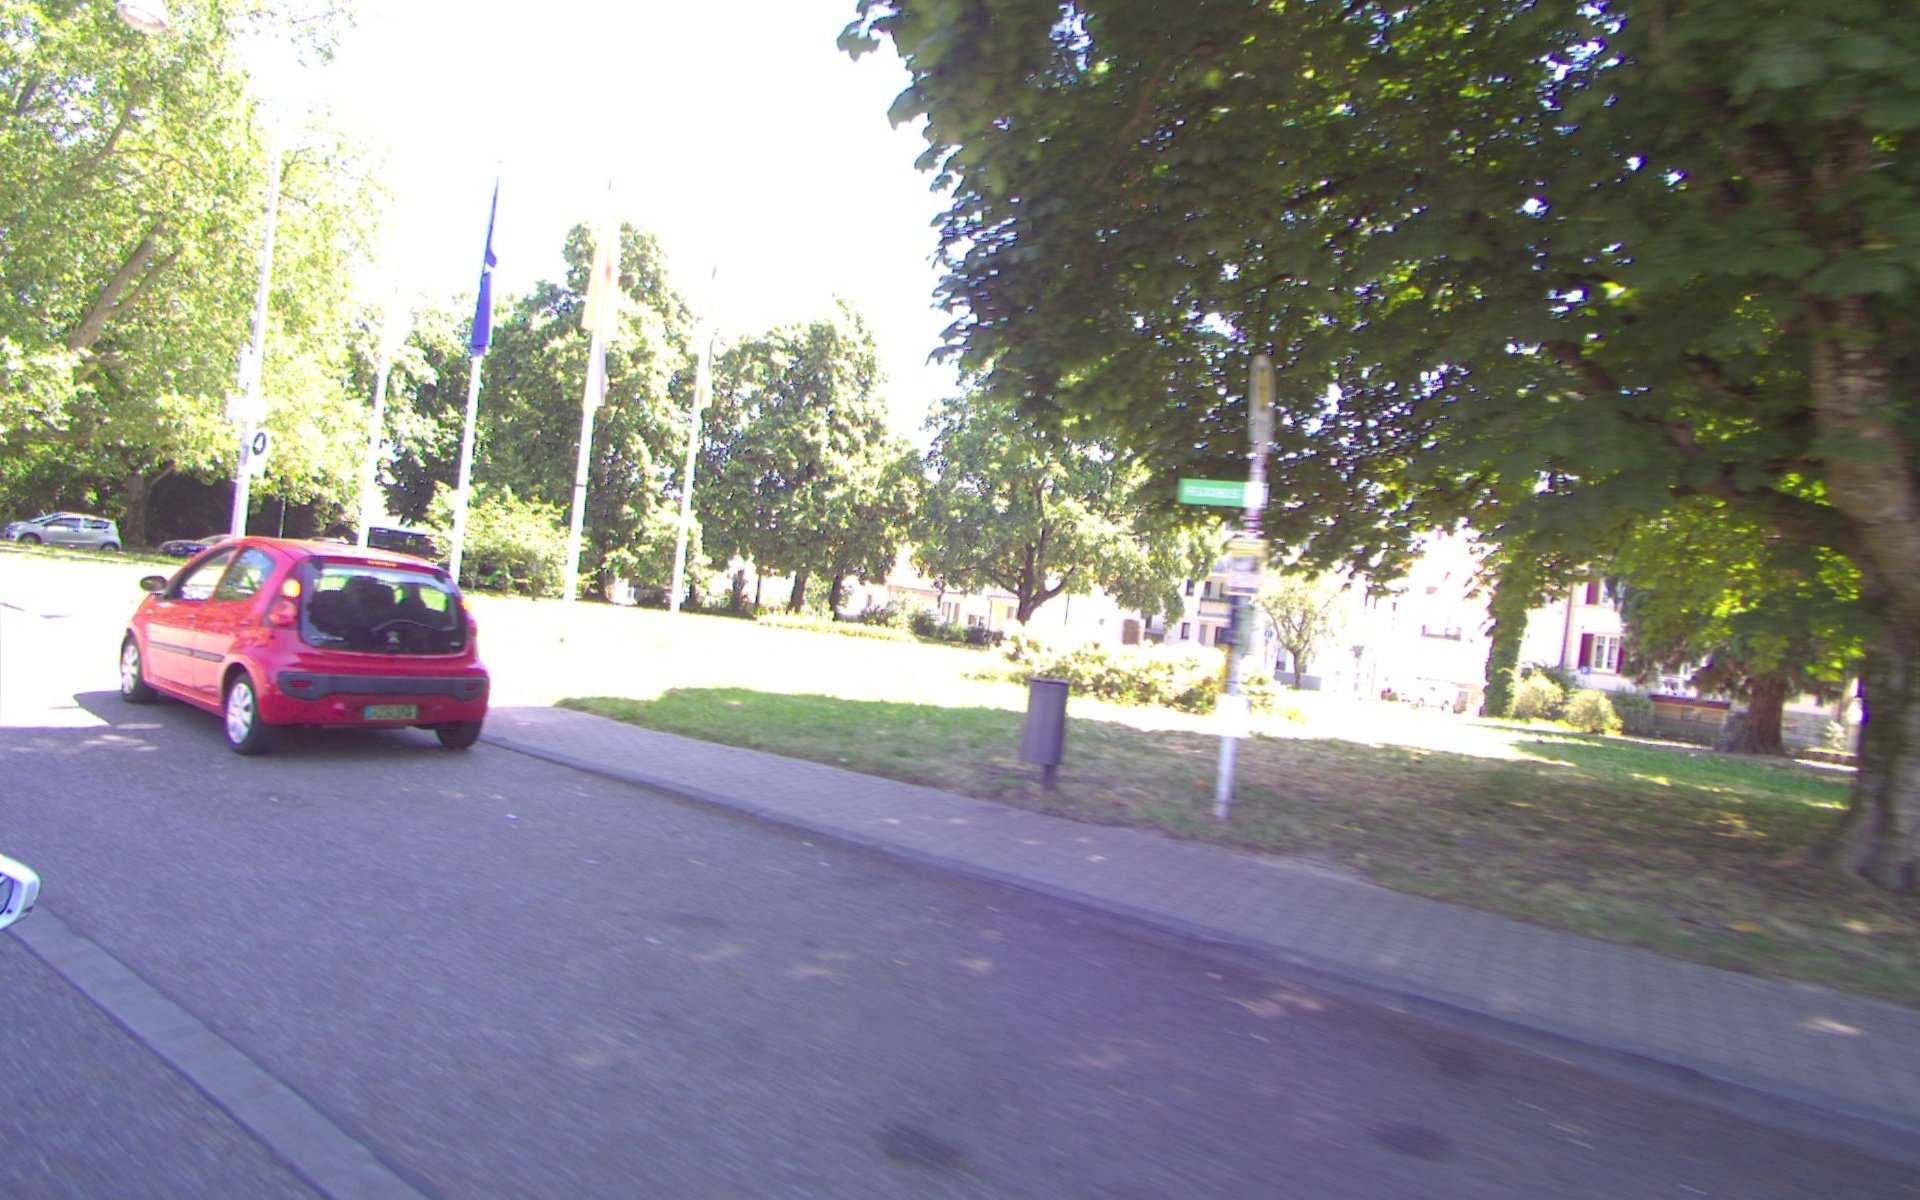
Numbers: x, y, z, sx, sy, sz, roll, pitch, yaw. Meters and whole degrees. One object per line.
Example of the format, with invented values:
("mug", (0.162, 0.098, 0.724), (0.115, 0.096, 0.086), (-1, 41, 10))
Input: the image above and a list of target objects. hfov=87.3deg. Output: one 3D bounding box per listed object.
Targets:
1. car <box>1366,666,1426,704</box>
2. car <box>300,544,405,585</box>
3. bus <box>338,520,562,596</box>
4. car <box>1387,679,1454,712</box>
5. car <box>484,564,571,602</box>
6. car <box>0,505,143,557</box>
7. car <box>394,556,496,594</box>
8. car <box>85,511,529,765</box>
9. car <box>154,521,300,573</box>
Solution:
("car", (26.084, 5.065, 60.117), (3.734, 1.981, 1.810), (7, -2, -43))
("car", (-29.957, -1.733, 49.734), (1.968, 1.471, 3.886), (5, -3, 33))
("bus", (-29.976, -2.340, 60.123), (2.231, 3.013, 12.395), (5, -2, 32))
("car", (25.570, 5.274, 55.781), (3.666, 1.450, 1.454), (7, -1, -31))
("car", (-24.837, -0.937, 57.908), (1.968, 1.627, 4.102), (5, -3, 34))
("car", (-36.007, -2.774, 40.701), (1.968, 1.484, 4.108), (6, -1, 34))
("car", (-27.430, -1.292, 53.719), (1.968, 1.432, 4.344), (5, -3, 32))
("car", (-5.332, 0.210, 8.079), (3.649, 1.496, 1.719), (6, -1, 36))
("car", (-32.770, -2.336, 45.109), (1.969, 1.627, 4.825), (6, -1, 36))
